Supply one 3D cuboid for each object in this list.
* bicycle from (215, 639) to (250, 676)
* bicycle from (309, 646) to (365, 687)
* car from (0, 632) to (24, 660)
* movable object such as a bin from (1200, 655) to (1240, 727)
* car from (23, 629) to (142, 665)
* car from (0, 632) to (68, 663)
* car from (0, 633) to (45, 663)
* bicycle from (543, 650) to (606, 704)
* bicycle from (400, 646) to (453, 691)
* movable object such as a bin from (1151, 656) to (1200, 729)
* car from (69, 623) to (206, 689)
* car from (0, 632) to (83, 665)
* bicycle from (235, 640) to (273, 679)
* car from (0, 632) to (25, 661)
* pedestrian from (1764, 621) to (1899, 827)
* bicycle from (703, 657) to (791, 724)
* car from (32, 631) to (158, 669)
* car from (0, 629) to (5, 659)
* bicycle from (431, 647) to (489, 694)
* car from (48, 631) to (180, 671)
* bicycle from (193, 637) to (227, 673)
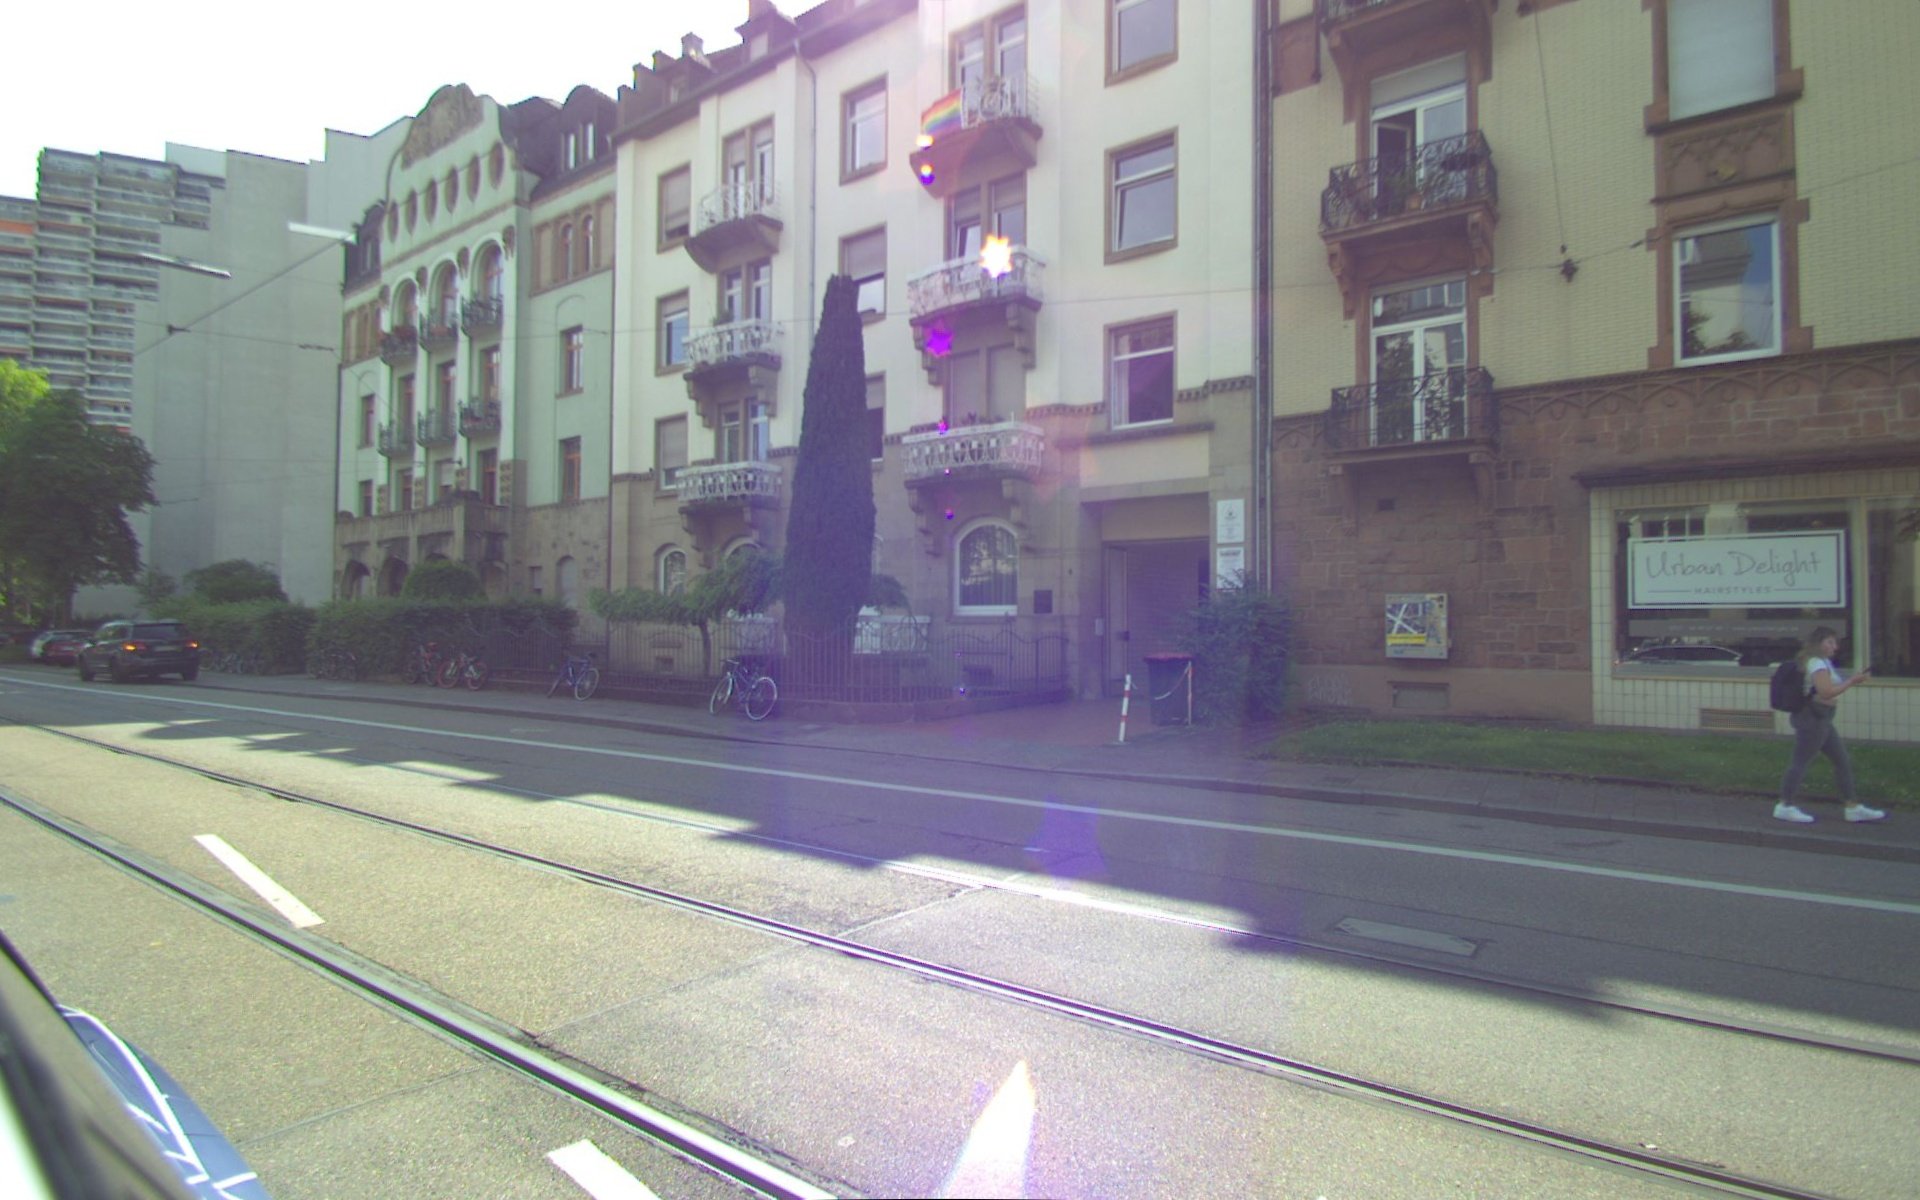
[{"bbox_3d":[-23.010,1.814,31.999,1.785,1.144,0.462,-2,-3,40],"label":"bicycle"},{"bbox_3d":[-16.110,1.698,26.149,1.979,1.003,0.597,-1,-3,40],"label":"bicycle"},{"bbox_3d":[-54.542,2.542,56.015,3.939,1.519,2.002,2,-3,-42],"label":"car"},{"bbox_3d":[3.842,1.339,14.990,0.531,1.037,0.475,0,-2,10],"label":"movable object such as a bin"},{"bbox_3d":[-39.191,2.094,45.266,3.939,1.519,2.002,2,-3,-42],"label":"car"},{"bbox_3d":[-46.968,2.357,50.294,3.939,1.519,2.002,2,-3,-42],"label":"car"},{"bbox_3d":[-49.653,2.443,51.939,3.939,1.519,2.002,2,-3,-42],"label":"car"},{"bbox_3d":[-7.623,1.495,19.993,0.461,1.003,1.788,2,-3,-45],"label":"bicycle"},{"bbox_3d":[-12.632,1.600,23.944,1.785,1.003,0.462,-2,-3,40],"label":"bicycle"},{"bbox_3d":[3.183,1.357,15.004,0.697,1.037,0.475,0,-2,11],"label":"movable object such as a bin"},{"bbox_3d":[-23.214,1.531,28.520,4.392,1.708,1.899,-1,-2,36],"label":"car"},{"bbox_3d":[-44.509,2.283,48.321,3.939,1.519,2.002,2,-3,-42],"label":"car"},{"bbox_3d":[-21.482,1.797,30.800,1.785,1.144,0.462,-2,-3,40],"label":"bicycle"},{"bbox_3d":[-52.348,2.469,53.716,3.939,1.519,2.002,2,-3,-42],"label":"car"},{"bbox_3d":[7.021,0.955,8.197,0.764,1.553,0.749,-2,-3,39],"label":"pedestrian"},{"bbox_3d":[-3.545,1.467,16.698,0.461,1.003,1.980,2,-3,-43],"label":"bicycle"},{"bbox_3d":[-36.581,2.101,42.857,3.939,1.519,2.002,2,-3,-42],"label":"car"},{"bbox_3d":[-57.445,2.517,57.957,3.939,1.695,2.002,2,-3,-42],"label":"car"},{"bbox_3d":[-11.214,1.566,22.683,1.785,1.003,0.462,-2,-3,40],"label":"bicycle"},{"bbox_3d":[-33.894,2.021,40.608,3.939,1.519,2.002,2,-3,-42],"label":"car"},{"bbox_3d":[-24.666,1.808,33.286,1.785,1.144,0.462,-2,-3,40],"label":"bicycle"}]
